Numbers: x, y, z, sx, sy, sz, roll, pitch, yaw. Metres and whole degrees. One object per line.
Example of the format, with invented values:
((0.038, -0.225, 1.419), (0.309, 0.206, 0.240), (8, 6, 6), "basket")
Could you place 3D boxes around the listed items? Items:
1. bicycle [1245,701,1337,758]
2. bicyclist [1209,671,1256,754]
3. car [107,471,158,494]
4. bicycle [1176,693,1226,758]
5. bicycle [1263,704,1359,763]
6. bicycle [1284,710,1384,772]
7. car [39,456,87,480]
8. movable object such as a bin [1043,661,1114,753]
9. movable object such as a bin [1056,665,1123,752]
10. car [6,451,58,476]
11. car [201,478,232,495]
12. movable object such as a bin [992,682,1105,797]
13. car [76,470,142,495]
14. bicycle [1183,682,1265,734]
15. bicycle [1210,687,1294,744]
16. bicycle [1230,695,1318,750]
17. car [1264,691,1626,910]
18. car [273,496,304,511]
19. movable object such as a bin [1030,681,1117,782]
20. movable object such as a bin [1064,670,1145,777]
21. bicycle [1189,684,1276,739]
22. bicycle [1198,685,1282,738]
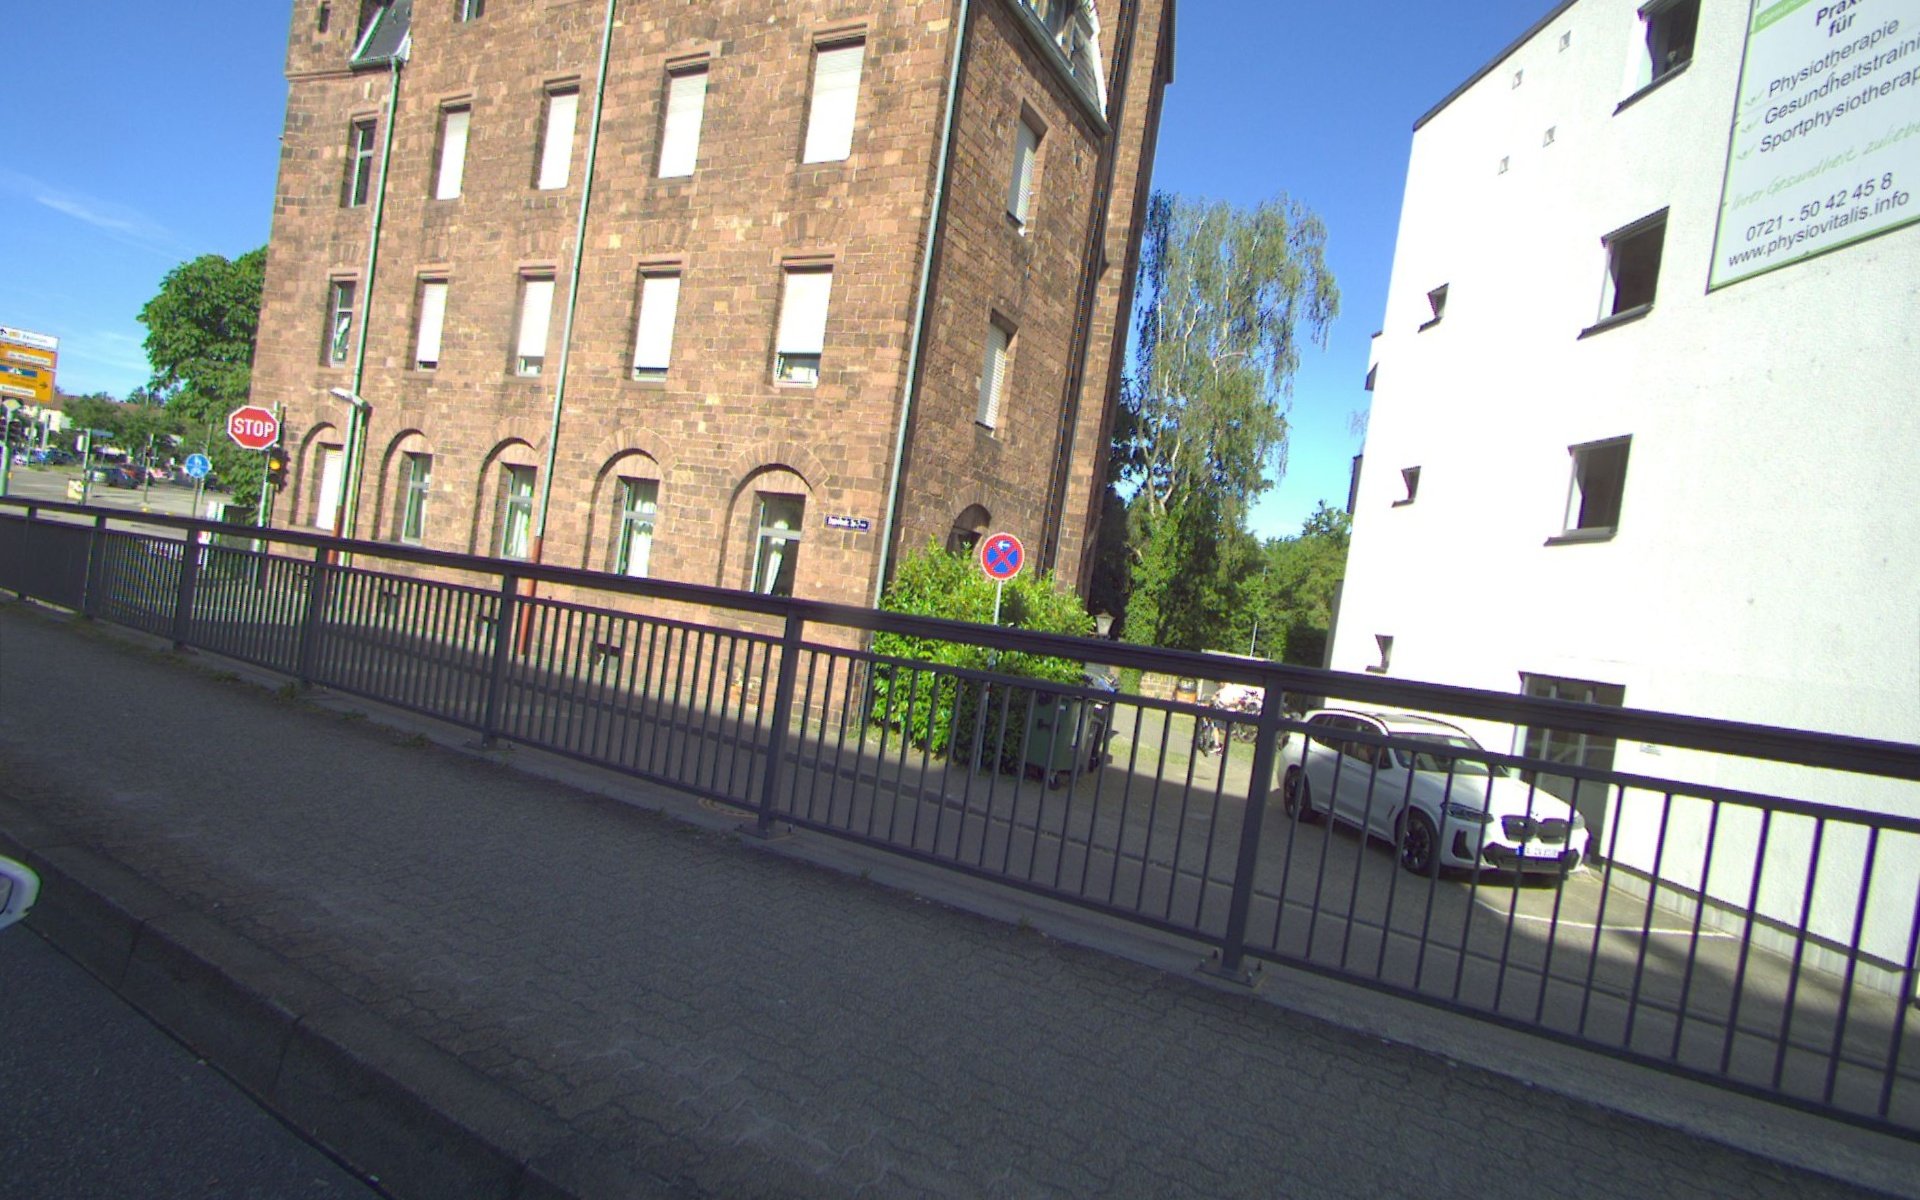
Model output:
((7.977, 3.115, 24.255), (1.889, 1.065, 0.664), (8, 1, -6), "bicycle")
((5.847, 2.395, 21.540), (0.675, 1.627, 0.697), (9, 0, 21), "bicyclist")
((-70.890, -10.027, 86.279), (1.974, 1.474, 4.524), (8, 2, -23), "car")
((5.220, 2.675, 21.739), (0.677, 1.155, 1.838), (9, 1, 21), "bicycle")
((8.132, 3.095, 23.367), (1.889, 1.065, 0.664), (8, 1, -6), "bicycle")
((8.337, 3.139, 22.453), (1.889, 1.065, 0.664), (8, 1, -6), "bicycle")
((-82.309, -12.094, 92.353), (1.860, 1.598, 3.978), (8, 1, -22), "car")
((2.288, 2.017, 19.272), (1.009, 1.539, 1.007), (10, 0, 14), "movable object such as a bin")
((2.649, 2.183, 20.461), (1.009, 1.539, 1.007), (10, 0, 14), "movable object such as a bin")
((-79.890, -11.731, 86.651), (1.860, 1.598, 3.978), (8, 1, -22), "car")
((-79.143, -12.068, 107.168), (1.766, 1.375, 4.050), (8, 2, -25), "car")
((1.195, 1.851, 13.522), (1.011, 1.307, 1.005), (10, 0, 29), "movable object such as a bin")
((-62.885, -8.683, 74.446), (1.971, 1.311, 4.574), (8, 1, -17), "car")
((7.667, 3.137, 29.268), (2.075, 1.174, 0.664), (8, 1, -9), "bicycle")
((7.671, 3.026, 26.450), (1.889, 1.174, 0.664), (8, 1, -6), "bicycle")
((7.872, 3.083, 25.283), (1.889, 1.065, 0.664), (8, 1, -6), "bicycle")
((5.969, 2.404, 13.163), (1.814, 1.707, 4.521), (8, 0, -9), "car")
((-80.472, -11.531, 120.600), (1.973, 1.459, 4.271), (8, 2, -20), "car")
((1.763, 1.999, 15.484), (1.009, 1.307, 1.007), (10, 0, 14), "movable object such as a bin")
((2.404, 2.016, 16.665), (1.009, 1.539, 1.007), (10, 0, 14), "movable object such as a bin")
((7.410, 3.028, 27.383), (2.075, 1.174, 0.664), (8, 1, -9), "bicycle")
((7.911, 3.136, 28.415), (2.075, 1.174, 0.664), (8, 1, -9), "bicycle")
